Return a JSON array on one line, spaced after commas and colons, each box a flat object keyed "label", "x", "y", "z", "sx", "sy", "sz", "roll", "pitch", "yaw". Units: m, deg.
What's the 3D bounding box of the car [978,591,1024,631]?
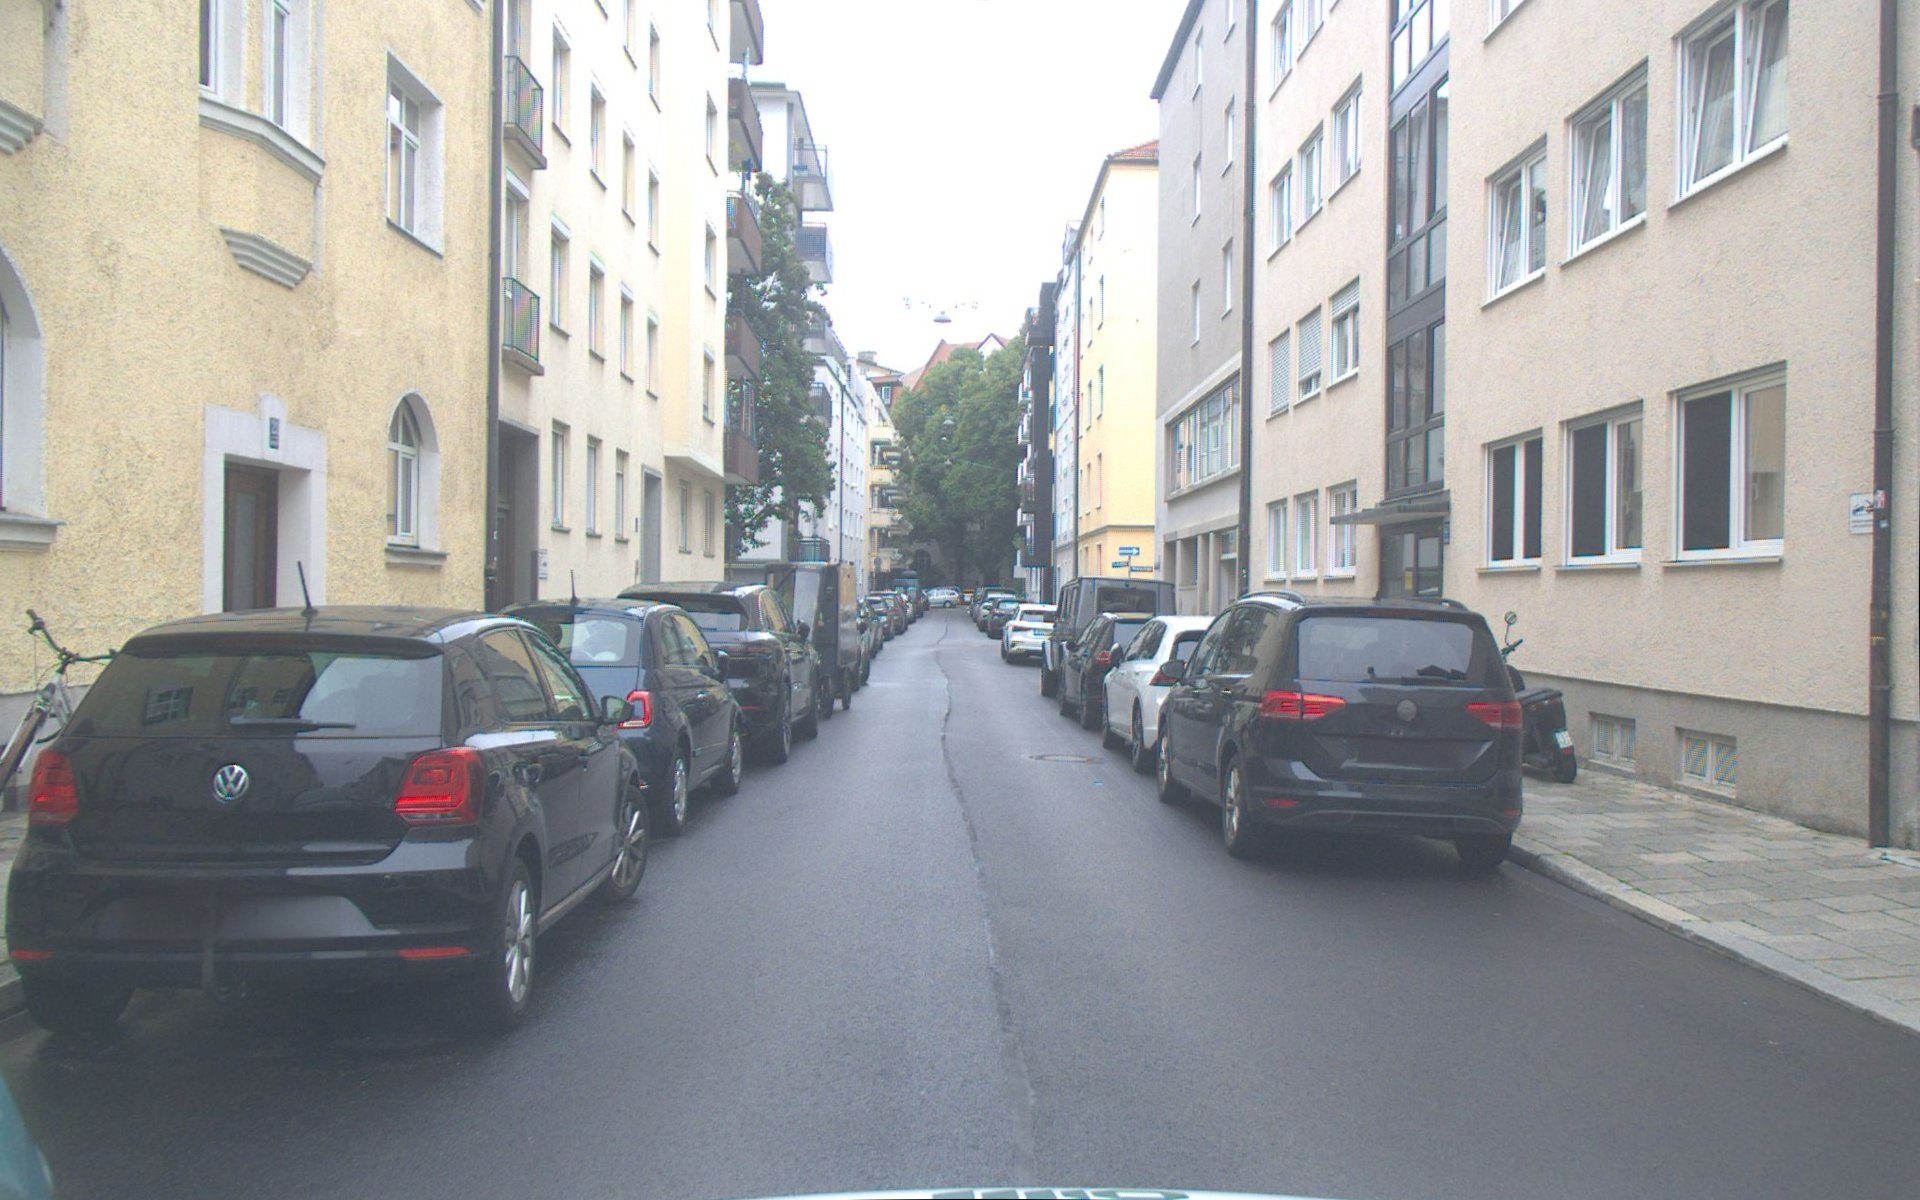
[{"label": "car", "x": 1.748, "y": 0.445, "z": 71.925, "sx": 1.648, "sy": 1.595, "sz": 4.414, "roll": 3, "pitch": 0, "yaw": -2}]

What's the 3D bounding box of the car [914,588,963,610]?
[{"label": "car", "x": -1.740, "y": -0.083, "z": 131.850, "sx": 3.807, "sy": 1.612, "sz": 1.647, "roll": -2, "pitch": 0, "yaw": -2}]

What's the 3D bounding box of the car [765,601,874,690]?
[{"label": "car", "x": -2.405, "y": 0.756, "z": 29.045, "sx": 1.618, "sy": 1.461, "sz": 3.802, "roll": 0, "pitch": 0, "yaw": 0}]

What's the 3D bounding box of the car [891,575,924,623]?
[{"label": "car", "x": -3.278, "y": -0.069, "z": 103.344, "sx": 1.897, "sy": 2.850, "sz": 4.532, "roll": -2, "pitch": 0, "yaw": -1}]

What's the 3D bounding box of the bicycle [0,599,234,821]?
[{"label": "bicycle", "x": -5.206, "y": 0.636, "z": 10.323, "sx": 0.581, "sy": 1.255, "sz": 1.736, "roll": 1, "pitch": -1, "yaw": -1}]

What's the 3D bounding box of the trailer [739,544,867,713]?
[{"label": "trailer", "x": -2.105, "y": 0.372, "z": 22.876, "sx": 1.327, "sy": 2.153, "sz": 3.319, "roll": 0, "pitch": 0, "yaw": 2}]

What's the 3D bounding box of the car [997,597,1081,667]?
[{"label": "car", "x": 1.946, "y": 0.765, "z": 41.720, "sx": 1.782, "sy": 1.432, "sz": 3.952, "roll": 2, "pitch": 3, "yaw": -2}]

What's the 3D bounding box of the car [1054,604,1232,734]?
[{"label": "car", "x": 2.332, "y": 0.842, "z": 22.057, "sx": 1.677, "sy": 1.512, "sz": 4.242, "roll": 2, "pitch": 0, "yaw": -3}]

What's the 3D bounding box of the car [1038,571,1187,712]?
[{"label": "car", "x": 2.368, "y": 0.596, "z": 26.754, "sx": 1.716, "sy": 2.009, "sz": 4.341, "roll": 3, "pitch": 0, "yaw": -3}]

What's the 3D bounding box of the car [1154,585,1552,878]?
[{"label": "car", "x": 2.519, "y": 0.774, "z": 11.662, "sx": 1.677, "sy": 1.636, "sz": 4.243, "roll": 2, "pitch": 0, "yaw": -1}]

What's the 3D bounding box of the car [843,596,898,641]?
[{"label": "car", "x": -3.041, "y": 0.605, "z": 56.684, "sx": 1.658, "sy": 1.467, "sz": 3.942, "roll": 0, "pitch": 0, "yaw": 0}]

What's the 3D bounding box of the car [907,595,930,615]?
[{"label": "car", "x": -3.017, "y": 0.371, "z": 121.997, "sx": 1.609, "sy": 1.408, "sz": 3.482, "roll": -2, "pitch": 0, "yaw": -1}]

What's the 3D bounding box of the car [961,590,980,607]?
[{"label": "car", "x": 0.931, "y": -0.154, "z": 149.056, "sx": 1.609, "sy": 1.408, "sz": 3.745, "roll": -2, "pitch": 0, "yaw": -1}]

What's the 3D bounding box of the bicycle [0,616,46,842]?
[{"label": "bicycle", "x": -5.353, "y": 0.688, "z": 8.481, "sx": 0.430, "sy": 1.211, "sz": 1.632, "roll": 1, "pitch": -1, "yaw": -1}]

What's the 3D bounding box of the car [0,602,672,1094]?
[{"label": "car", "x": -2.241, "y": 0.754, "z": 6.917, "sx": 1.531, "sy": 1.486, "sz": 3.762, "roll": 0, "pitch": 0, "yaw": -2}]

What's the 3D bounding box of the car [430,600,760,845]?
[{"label": "car", "x": -2.431, "y": 0.750, "z": 11.798, "sx": 1.530, "sy": 1.486, "sz": 3.476, "roll": 0, "pitch": 0, "yaw": 1}]

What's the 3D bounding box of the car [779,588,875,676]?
[{"label": "car", "x": -2.696, "y": 0.630, "z": 34.314, "sx": 1.730, "sy": 1.705, "sz": 4.366, "roll": 0, "pitch": 0, "yaw": -1}]

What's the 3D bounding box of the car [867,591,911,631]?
[{"label": "car", "x": -2.997, "y": 0.446, "z": 70.425, "sx": 1.740, "sy": 1.658, "sz": 4.414, "roll": 0, "pitch": 0, "yaw": -1}]

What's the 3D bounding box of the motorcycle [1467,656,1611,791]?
[{"label": "motorcycle", "x": 4.906, "y": 1.018, "z": 14.138, "sx": 0.472, "sy": 0.984, "sz": 1.911, "roll": -3, "pitch": 0, "yaw": -1}]

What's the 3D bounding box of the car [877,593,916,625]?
[{"label": "car", "x": -3.176, "y": 0.431, "z": 83.560, "sx": 1.740, "sy": 1.513, "sz": 4.519, "roll": -2, "pitch": 0, "yaw": 0}]

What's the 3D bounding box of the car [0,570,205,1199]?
[{"label": "car", "x": -2.078, "y": 0.700, "z": 1.110, "sx": 1.530, "sy": 1.486, "sz": 3.404, "roll": 0, "pitch": 0, "yaw": 1}]

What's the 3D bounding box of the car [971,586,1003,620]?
[{"label": "car", "x": 1.684, "y": 0.164, "z": 106.075, "sx": 1.792, "sy": 2.034, "sz": 4.415, "roll": 4, "pitch": 0, "yaw": -1}]

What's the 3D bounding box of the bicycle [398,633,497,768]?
[{"label": "bicycle", "x": -5.359, "y": 1.023, "z": 17.378, "sx": 0.524, "sy": 1.301, "sz": 1.551, "roll": 3, "pitch": -1, "yaw": -2}]

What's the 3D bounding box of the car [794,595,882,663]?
[{"label": "car", "x": -2.880, "y": 0.661, "z": 39.873, "sx": 1.729, "sy": 1.509, "sz": 4.424, "roll": 0, "pitch": 1, "yaw": 1}]

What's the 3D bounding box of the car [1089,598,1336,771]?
[{"label": "car", "x": 2.450, "y": 0.779, "z": 17.045, "sx": 1.677, "sy": 1.512, "sz": 4.242, "roll": 2, "pitch": 0, "yaw": -3}]

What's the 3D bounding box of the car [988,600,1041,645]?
[{"label": "car", "x": 1.995, "y": 0.805, "z": 61.705, "sx": 1.715, "sy": 1.494, "sz": 4.342, "roll": 3, "pitch": 0, "yaw": -1}]

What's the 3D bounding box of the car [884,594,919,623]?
[{"label": "car", "x": -3.134, "y": 0.435, "z": 88.666, "sx": 1.741, "sy": 1.478, "sz": 4.045, "roll": -2, "pitch": 0, "yaw": -1}]

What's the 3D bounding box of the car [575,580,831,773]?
[{"label": "car", "x": -2.431, "y": 0.679, "z": 16.729, "sx": 1.840, "sy": 1.689, "sz": 4.415, "roll": 0, "pitch": 0, "yaw": 1}]

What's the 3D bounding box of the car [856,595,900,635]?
[{"label": "car", "x": -3.160, "y": 0.557, "z": 64.324, "sx": 1.659, "sy": 1.467, "sz": 3.976, "roll": 0, "pitch": 0, "yaw": -2}]
